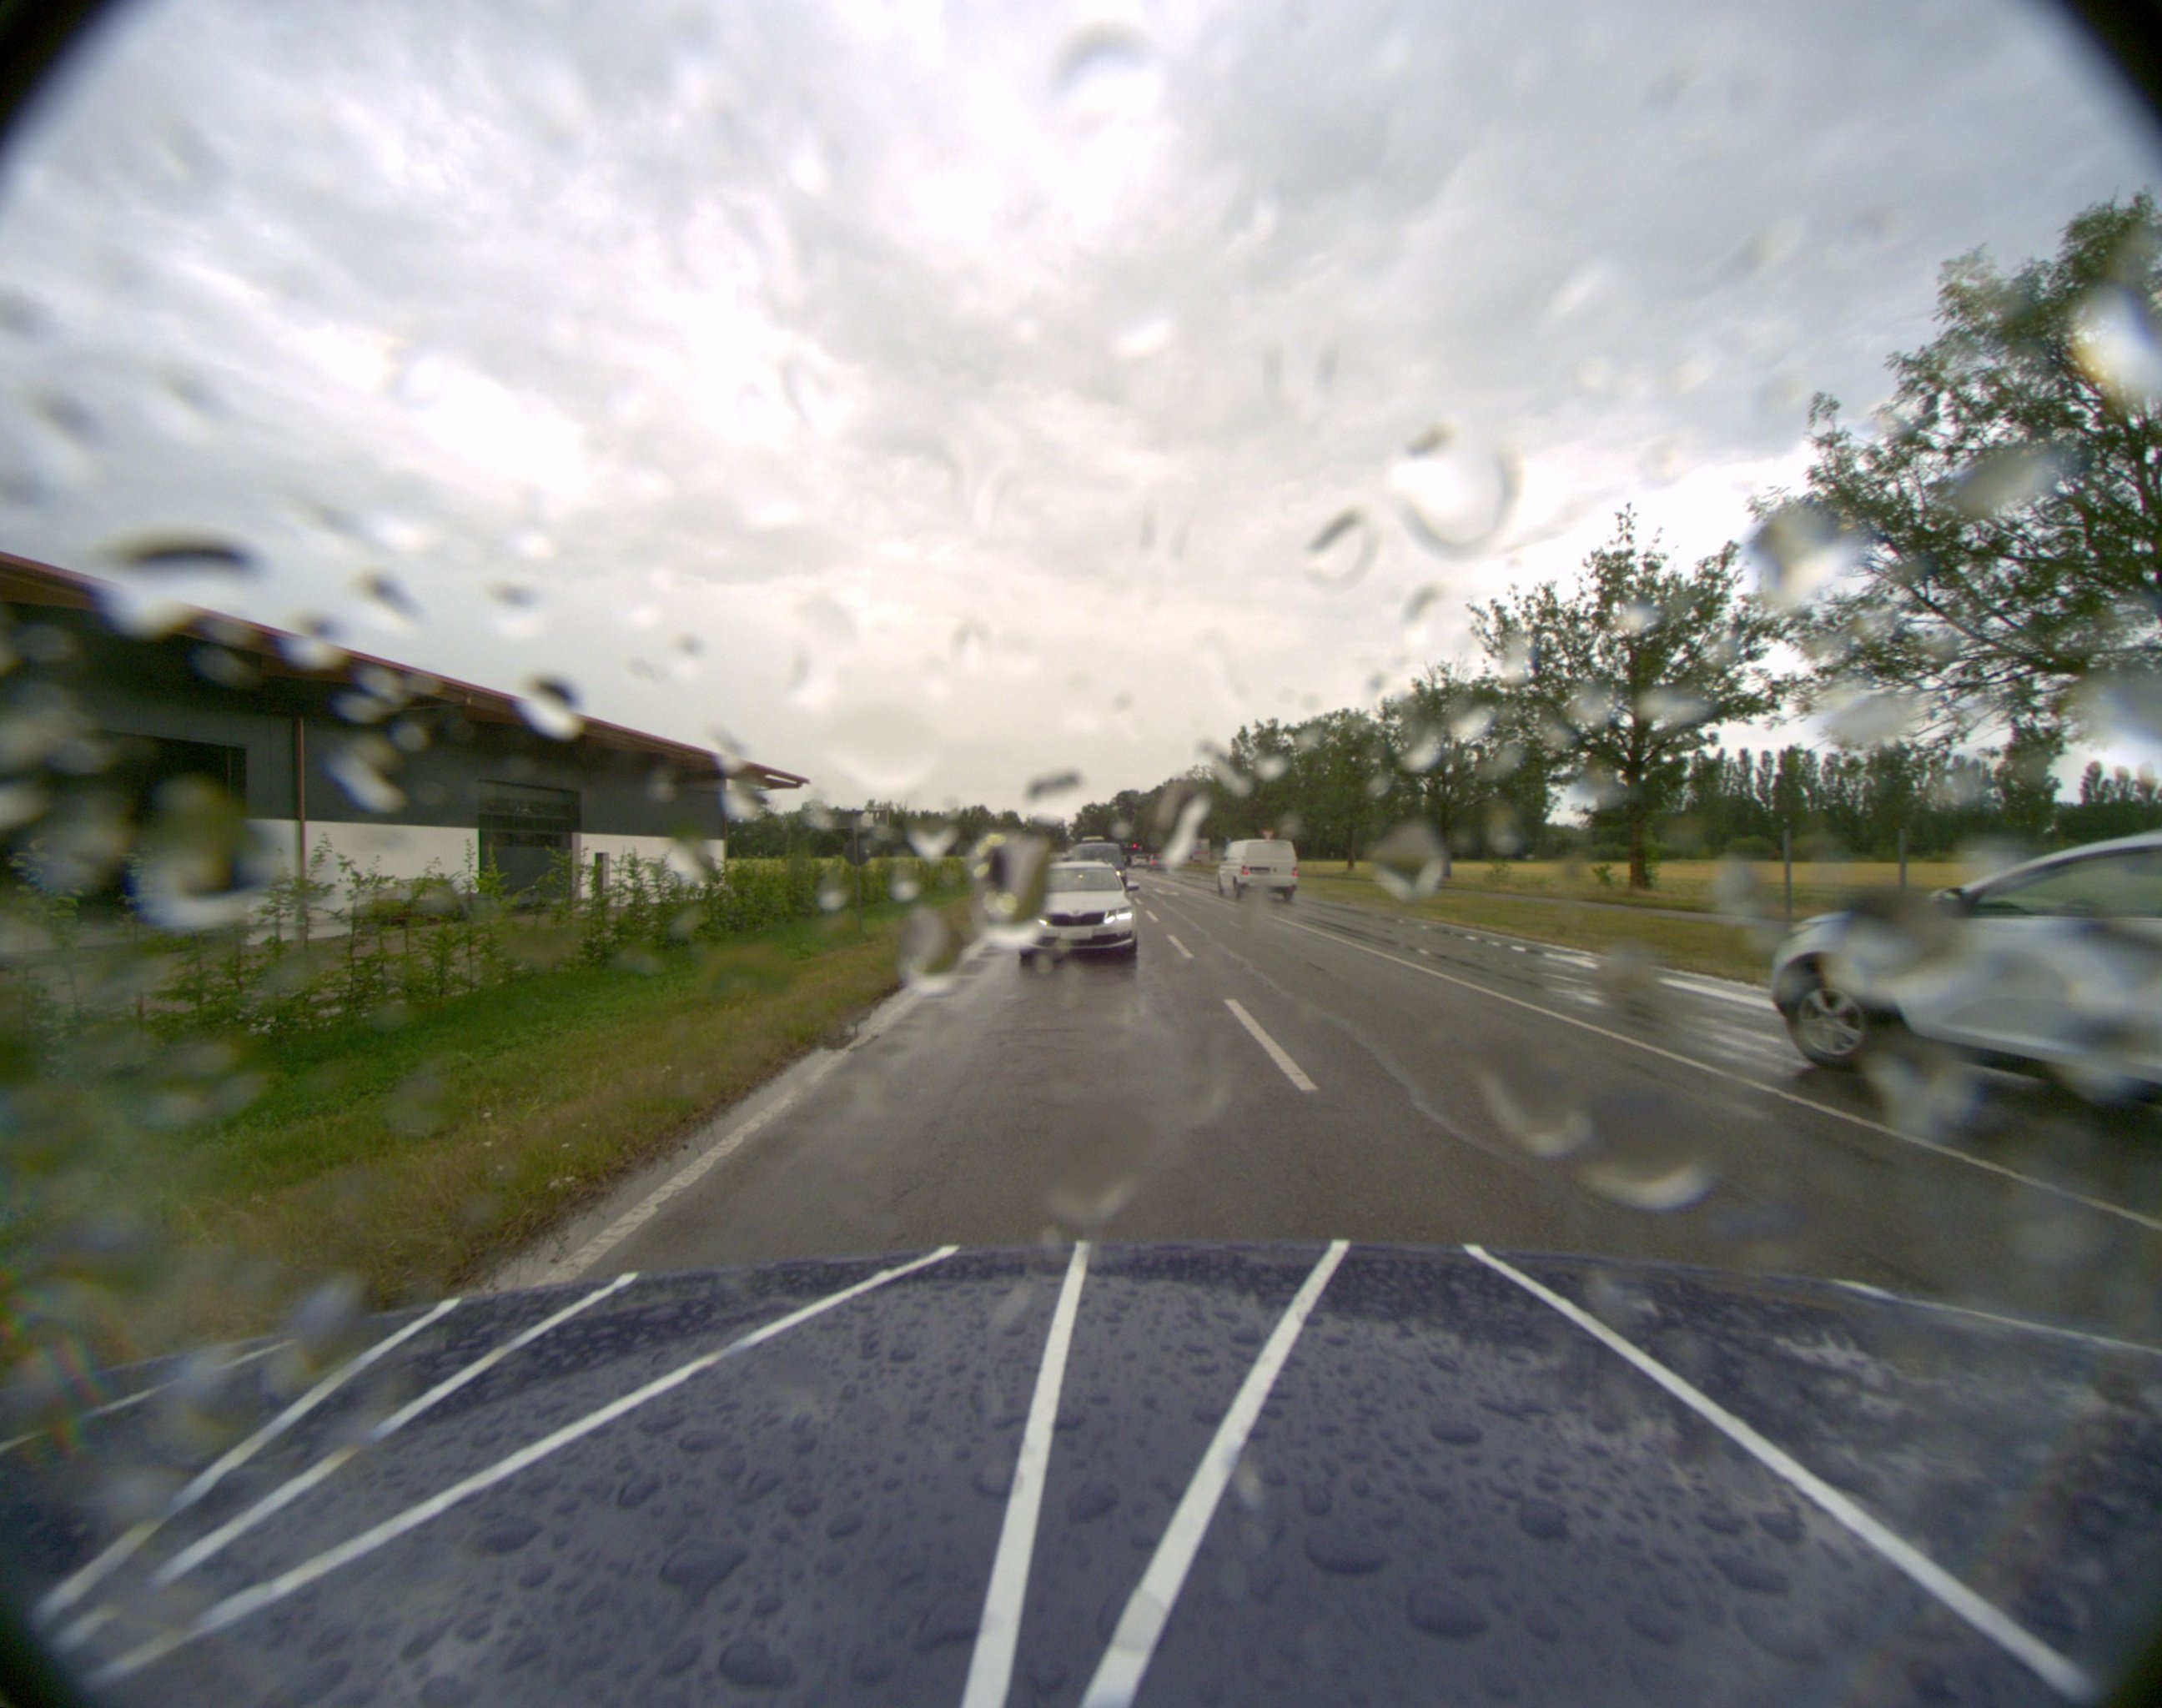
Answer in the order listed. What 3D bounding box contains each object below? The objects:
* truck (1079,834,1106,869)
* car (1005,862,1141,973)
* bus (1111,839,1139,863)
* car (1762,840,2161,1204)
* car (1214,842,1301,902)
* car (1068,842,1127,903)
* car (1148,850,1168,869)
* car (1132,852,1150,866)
[{"bbox_3d":[1.394,-0.323,90.831,2.931,3.828,14.120,0,0,1],"label":"truck"},{"bbox_3d":[-0.067,0.906,12.838,1.843,1.379,4.569,-2,1,1],"label":"car"},{"bbox_3d":[5.726,-0.442,100.201,2.958,2.895,12.473,0,1,0],"label":"bus"},{"bbox_3d":[5.799,0.788,3.466,1.708,1.661,4.156,1,0,2],"label":"car"},{"bbox_3d":[5.956,0.552,26.246,1.921,1.851,4.684,1,1,1],"label":"car"},{"bbox_3d":[0.558,0.571,26.337,1.892,1.939,4.000,0,1,1],"label":"car"},{"bbox_3d":[6.482,0.403,64.172,1.504,1.521,3.301,2,1,2],"label":"car"},{"bbox_3d":[6.480,0.500,81.999,1.672,1.442,3.461,1,0,1],"label":"car"}]
